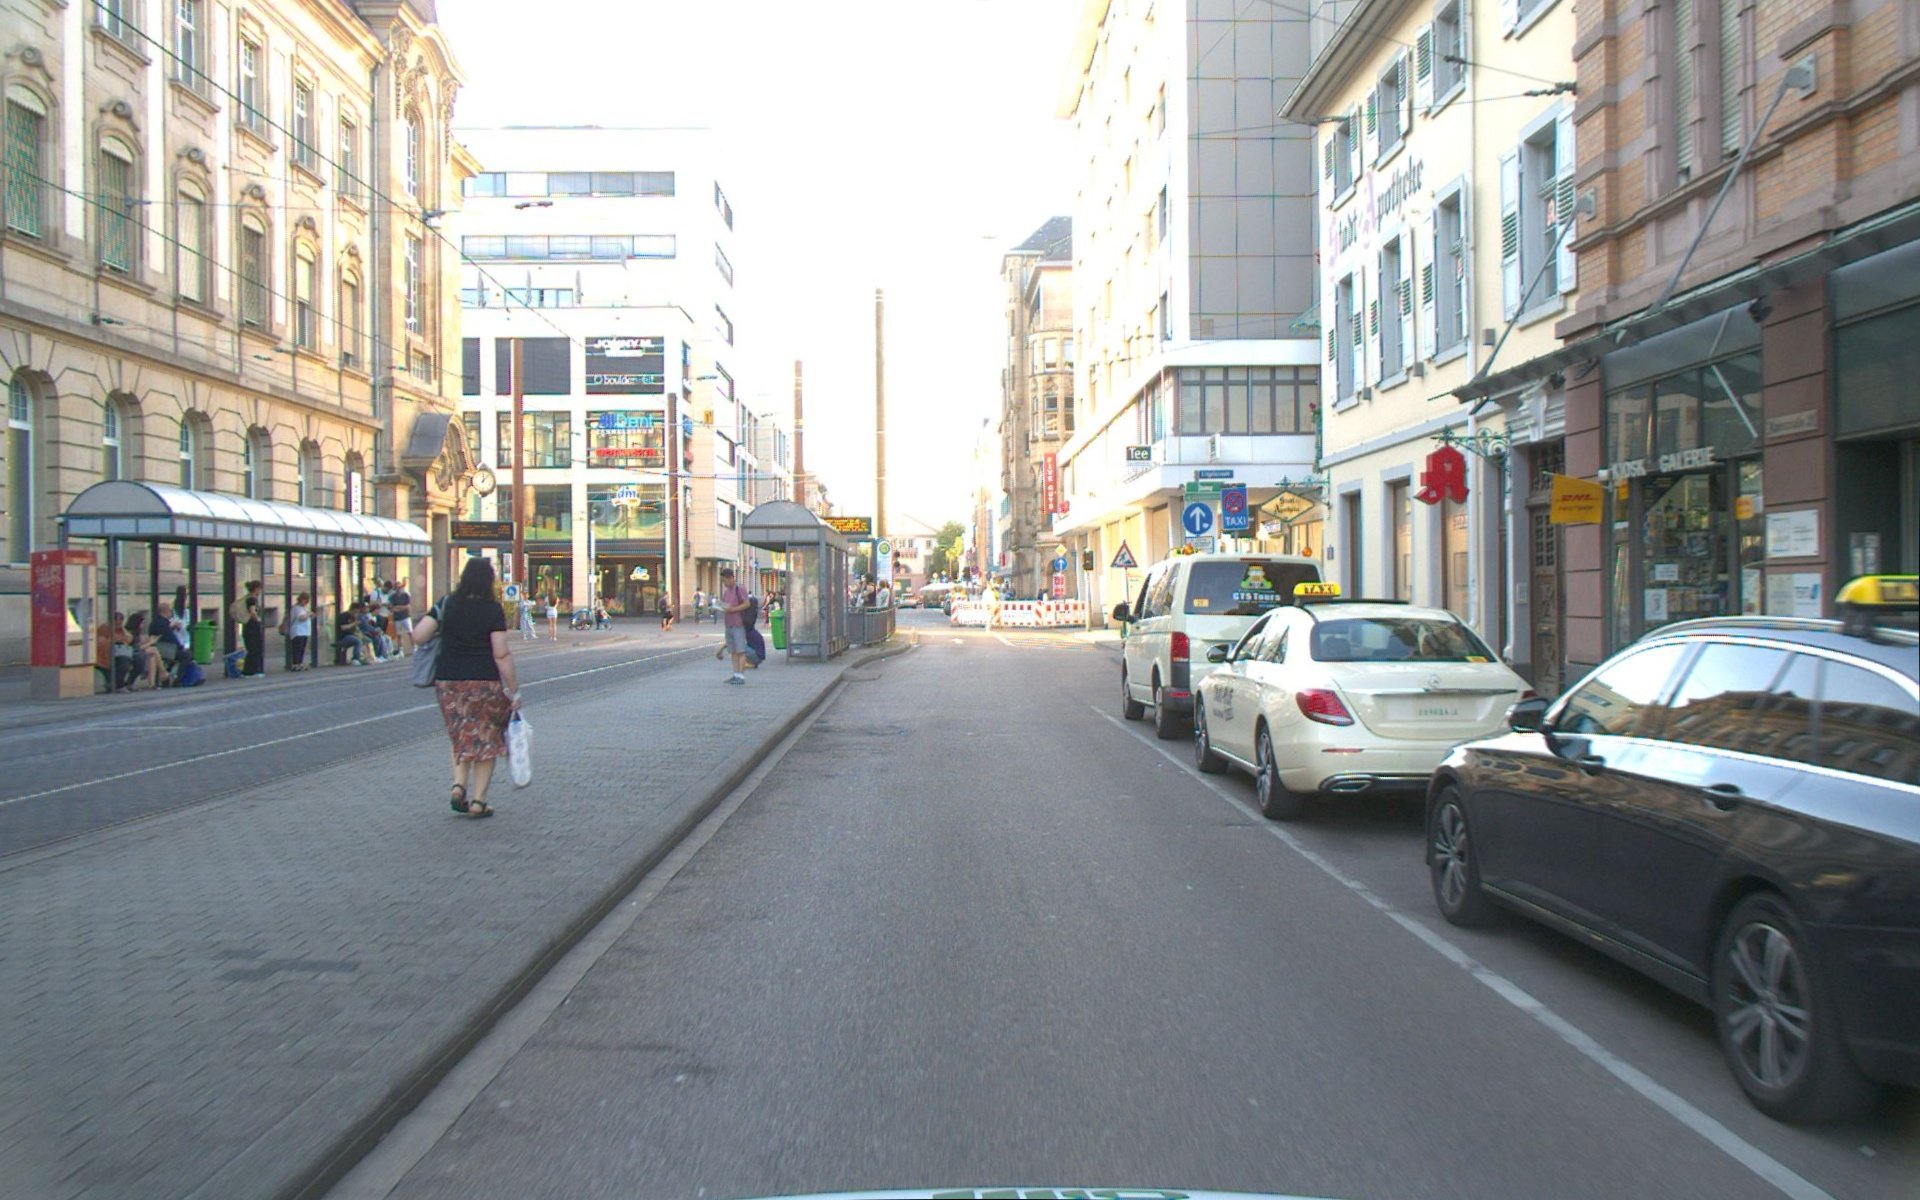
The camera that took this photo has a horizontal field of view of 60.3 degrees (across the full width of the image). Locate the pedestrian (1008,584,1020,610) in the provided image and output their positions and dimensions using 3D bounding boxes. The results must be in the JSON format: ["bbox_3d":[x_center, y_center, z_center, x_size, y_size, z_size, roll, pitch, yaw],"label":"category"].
[{"bbox_3d":[3.545,-0.195,108.363,0.697,1.639,0.821,1,-1,-4],"label":"pedestrian"}]

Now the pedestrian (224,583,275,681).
[{"bbox_3d":[-12.328,0.547,28.718,0.507,1.679,0.638,-1,-1,21],"label":"pedestrian"}]

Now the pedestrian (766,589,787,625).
[{"bbox_3d":[-8.590,0.322,77.501,0.811,1.642,0.687,-1,0,-27],"label":"pedestrian"}]

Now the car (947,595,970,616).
[{"bbox_3d":[-0.129,0.441,128.857,1.645,1.574,3.671,-2,0,-2],"label":"car"}]

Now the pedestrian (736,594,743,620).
[{"bbox_3d":[-13.474,0.430,101.164,0.382,1.541,0.505,0,0,-3],"label":"pedestrian"}]

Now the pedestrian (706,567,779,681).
[{"bbox_3d":[-3.228,0.343,24.596,0.675,1.666,0.857,0,0,39],"label":"pedestrian"}]

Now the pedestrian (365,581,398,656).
[{"bbox_3d":[-13.185,0.420,37.720,0.507,1.674,0.638,0,-1,2],"label":"pedestrian"}]

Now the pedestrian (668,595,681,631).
[{"bbox_3d":[-12.886,0.584,74.531,0.559,1.621,0.447,0,0,-10],"label":"pedestrian"}]

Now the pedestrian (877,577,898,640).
[{"bbox_3d":[-2.098,0.252,47.911,0.528,1.798,0.594,1,-1,4],"label":"pedestrian"}]

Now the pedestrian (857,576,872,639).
[{"bbox_3d":[-2.547,0.206,44.166,0.378,1.670,0.549,1,-1,-3],"label":"pedestrian"}]

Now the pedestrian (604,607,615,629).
[{"bbox_3d":[-15.822,0.801,74.729,0.413,0.982,0.418,0,0,0],"label":"pedestrian"}]

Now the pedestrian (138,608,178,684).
[{"bbox_3d":[-12.044,0.682,24.844,0.357,1.122,0.430,1,-1,5],"label":"pedestrian"}]

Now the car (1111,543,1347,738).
[{"bbox_3d":[2.984,0.426,19.353,1.839,1.957,4.698,2,0,-2],"label":"car"}]

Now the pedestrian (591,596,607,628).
[{"bbox_3d":[-16.371,0.561,74.943,0.625,1.445,0.418,0,0,0],"label":"pedestrian"}]

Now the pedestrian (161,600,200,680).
[{"bbox_3d":[-12.103,0.615,25.689,0.357,1.221,0.430,1,-1,5],"label":"pedestrian"}]

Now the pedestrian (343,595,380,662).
[{"bbox_3d":[-12.212,0.580,33.773,0.507,1.350,0.638,0,-1,2],"label":"pedestrian"}]

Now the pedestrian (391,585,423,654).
[{"bbox_3d":[-12.850,0.445,38.457,0.507,1.597,0.638,0,-1,2],"label":"pedestrian"}]

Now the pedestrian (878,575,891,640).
[{"bbox_3d":[-2.156,0.223,46.997,0.335,1.827,0.544,1,-1,-3],"label":"pedestrian"}]

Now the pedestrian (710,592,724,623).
[{"bbox_3d":[-13.382,0.428,91.014,0.635,1.703,0.530,-1,0,7],"label":"pedestrian"}]

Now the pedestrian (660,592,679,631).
[{"bbox_3d":[-12.999,0.498,74.033,0.729,1.730,0.610,0,0,-4],"label":"pedestrian"}]

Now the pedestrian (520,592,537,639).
[{"bbox_3d":[-14.238,0.511,54.627,0.493,1.552,0.516,0,0,-22],"label":"pedestrian"}]

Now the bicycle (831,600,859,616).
[{"bbox_3d":[-8.443,0.596,121.482,1.947,1.141,0.552,1,-1,-31],"label":"bicycle"}]

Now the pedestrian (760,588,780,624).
[{"bbox_3d":[-8.984,0.281,78.199,0.760,1.642,0.661,-1,0,-27],"label":"pedestrian"}]

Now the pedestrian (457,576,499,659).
[{"bbox_3d":[-10.166,0.365,34.904,0.660,1.721,0.638,0,-1,3],"label":"pedestrian"}]

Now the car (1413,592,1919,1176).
[{"bbox_3d":[3.274,0.750,6.232,1.691,1.503,4.819,1,0,-2],"label":"car"}]

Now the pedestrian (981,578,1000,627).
[{"bbox_3d":[1.165,0.082,63.347,0.685,1.847,0.852,1,0,-2],"label":"pedestrian"}]

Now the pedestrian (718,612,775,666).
[{"bbox_3d":[-3.820,0.690,29.614,0.781,0.955,0.693,0,0,22],"label":"pedestrian"}]

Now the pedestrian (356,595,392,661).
[{"bbox_3d":[-12.229,0.582,34.540,0.507,1.350,0.638,0,-1,2],"label":"pedestrian"}]

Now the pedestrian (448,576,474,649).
[{"bbox_3d":[-12.527,0.311,41.512,0.548,1.807,0.468,0,0,-6],"label":"pedestrian"}]

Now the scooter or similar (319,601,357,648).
[{"bbox_3d":[-16.296,0.638,43.367,0.477,1.202,1.293,1,0,1],"label":"scooter or similar"}]

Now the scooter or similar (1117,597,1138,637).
[{"bbox_3d":[5.320,0.530,52.589,0.495,1.256,1.179,0,0,-2],"label":"scooter or similar"}]

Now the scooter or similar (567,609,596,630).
[{"bbox_3d":[-16.992,0.871,74.225,1.071,0.920,0.890,-1,0,0],"label":"scooter or similar"}]

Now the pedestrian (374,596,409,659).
[{"bbox_3d":[-12.175,0.587,35.412,0.507,1.350,0.638,0,-1,2],"label":"pedestrian"}]

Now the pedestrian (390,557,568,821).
[{"bbox_3d":[-2.895,0.514,10.035,0.829,1.527,0.901,0,0,-2],"label":"pedestrian"}]

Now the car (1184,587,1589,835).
[{"bbox_3d":[3.006,0.682,12.789,1.769,1.509,4.777,1,1,-2],"label":"car"}]

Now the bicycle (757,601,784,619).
[{"bbox_3d":[-12.264,0.642,107.028,1.661,1.141,0.451,1,-1,1],"label":"bicycle"}]

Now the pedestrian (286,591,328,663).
[{"bbox_3d":[-12.295,0.504,31.160,0.507,1.350,0.638,0,-1,2],"label":"pedestrian"}]

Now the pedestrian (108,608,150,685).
[{"bbox_3d":[-12.185,0.678,24.255,0.357,1.122,0.430,1,-1,5],"label":"pedestrian"}]

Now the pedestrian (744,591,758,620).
[{"bbox_3d":[-12.852,0.325,101.663,0.766,1.782,0.599,1,-1,-4],"label":"pedestrian"}]

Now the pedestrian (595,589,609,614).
[{"bbox_3d":[-22.685,0.082,104.857,0.560,1.553,0.791,1,-1,10],"label":"pedestrian"}]

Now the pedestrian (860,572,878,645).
[{"bbox_3d":[-2.264,0.210,41.162,0.404,1.798,0.594,1,-1,-3],"label":"pedestrian"}]

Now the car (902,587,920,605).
[{"bbox_3d":[-5.521,-0.404,185.248,1.953,1.937,3.998,1,0,-2],"label":"car"}]

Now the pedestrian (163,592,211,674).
[{"bbox_3d":[-15.743,0.662,33.691,0.685,1.642,0.630,1,0,-3],"label":"pedestrian"}]

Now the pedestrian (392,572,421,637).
[{"bbox_3d":[-15.674,0.129,46.844,0.608,1.807,0.705,0,0,-5],"label":"pedestrian"}]

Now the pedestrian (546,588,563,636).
[{"bbox_3d":[-13.146,0.393,53.605,0.517,1.552,0.500,0,0,-15],"label":"pedestrian"}]

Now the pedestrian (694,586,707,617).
[{"bbox_3d":[-16.047,0.099,102.252,0.560,1.887,0.817,1,-1,10],"label":"pedestrian"}]
